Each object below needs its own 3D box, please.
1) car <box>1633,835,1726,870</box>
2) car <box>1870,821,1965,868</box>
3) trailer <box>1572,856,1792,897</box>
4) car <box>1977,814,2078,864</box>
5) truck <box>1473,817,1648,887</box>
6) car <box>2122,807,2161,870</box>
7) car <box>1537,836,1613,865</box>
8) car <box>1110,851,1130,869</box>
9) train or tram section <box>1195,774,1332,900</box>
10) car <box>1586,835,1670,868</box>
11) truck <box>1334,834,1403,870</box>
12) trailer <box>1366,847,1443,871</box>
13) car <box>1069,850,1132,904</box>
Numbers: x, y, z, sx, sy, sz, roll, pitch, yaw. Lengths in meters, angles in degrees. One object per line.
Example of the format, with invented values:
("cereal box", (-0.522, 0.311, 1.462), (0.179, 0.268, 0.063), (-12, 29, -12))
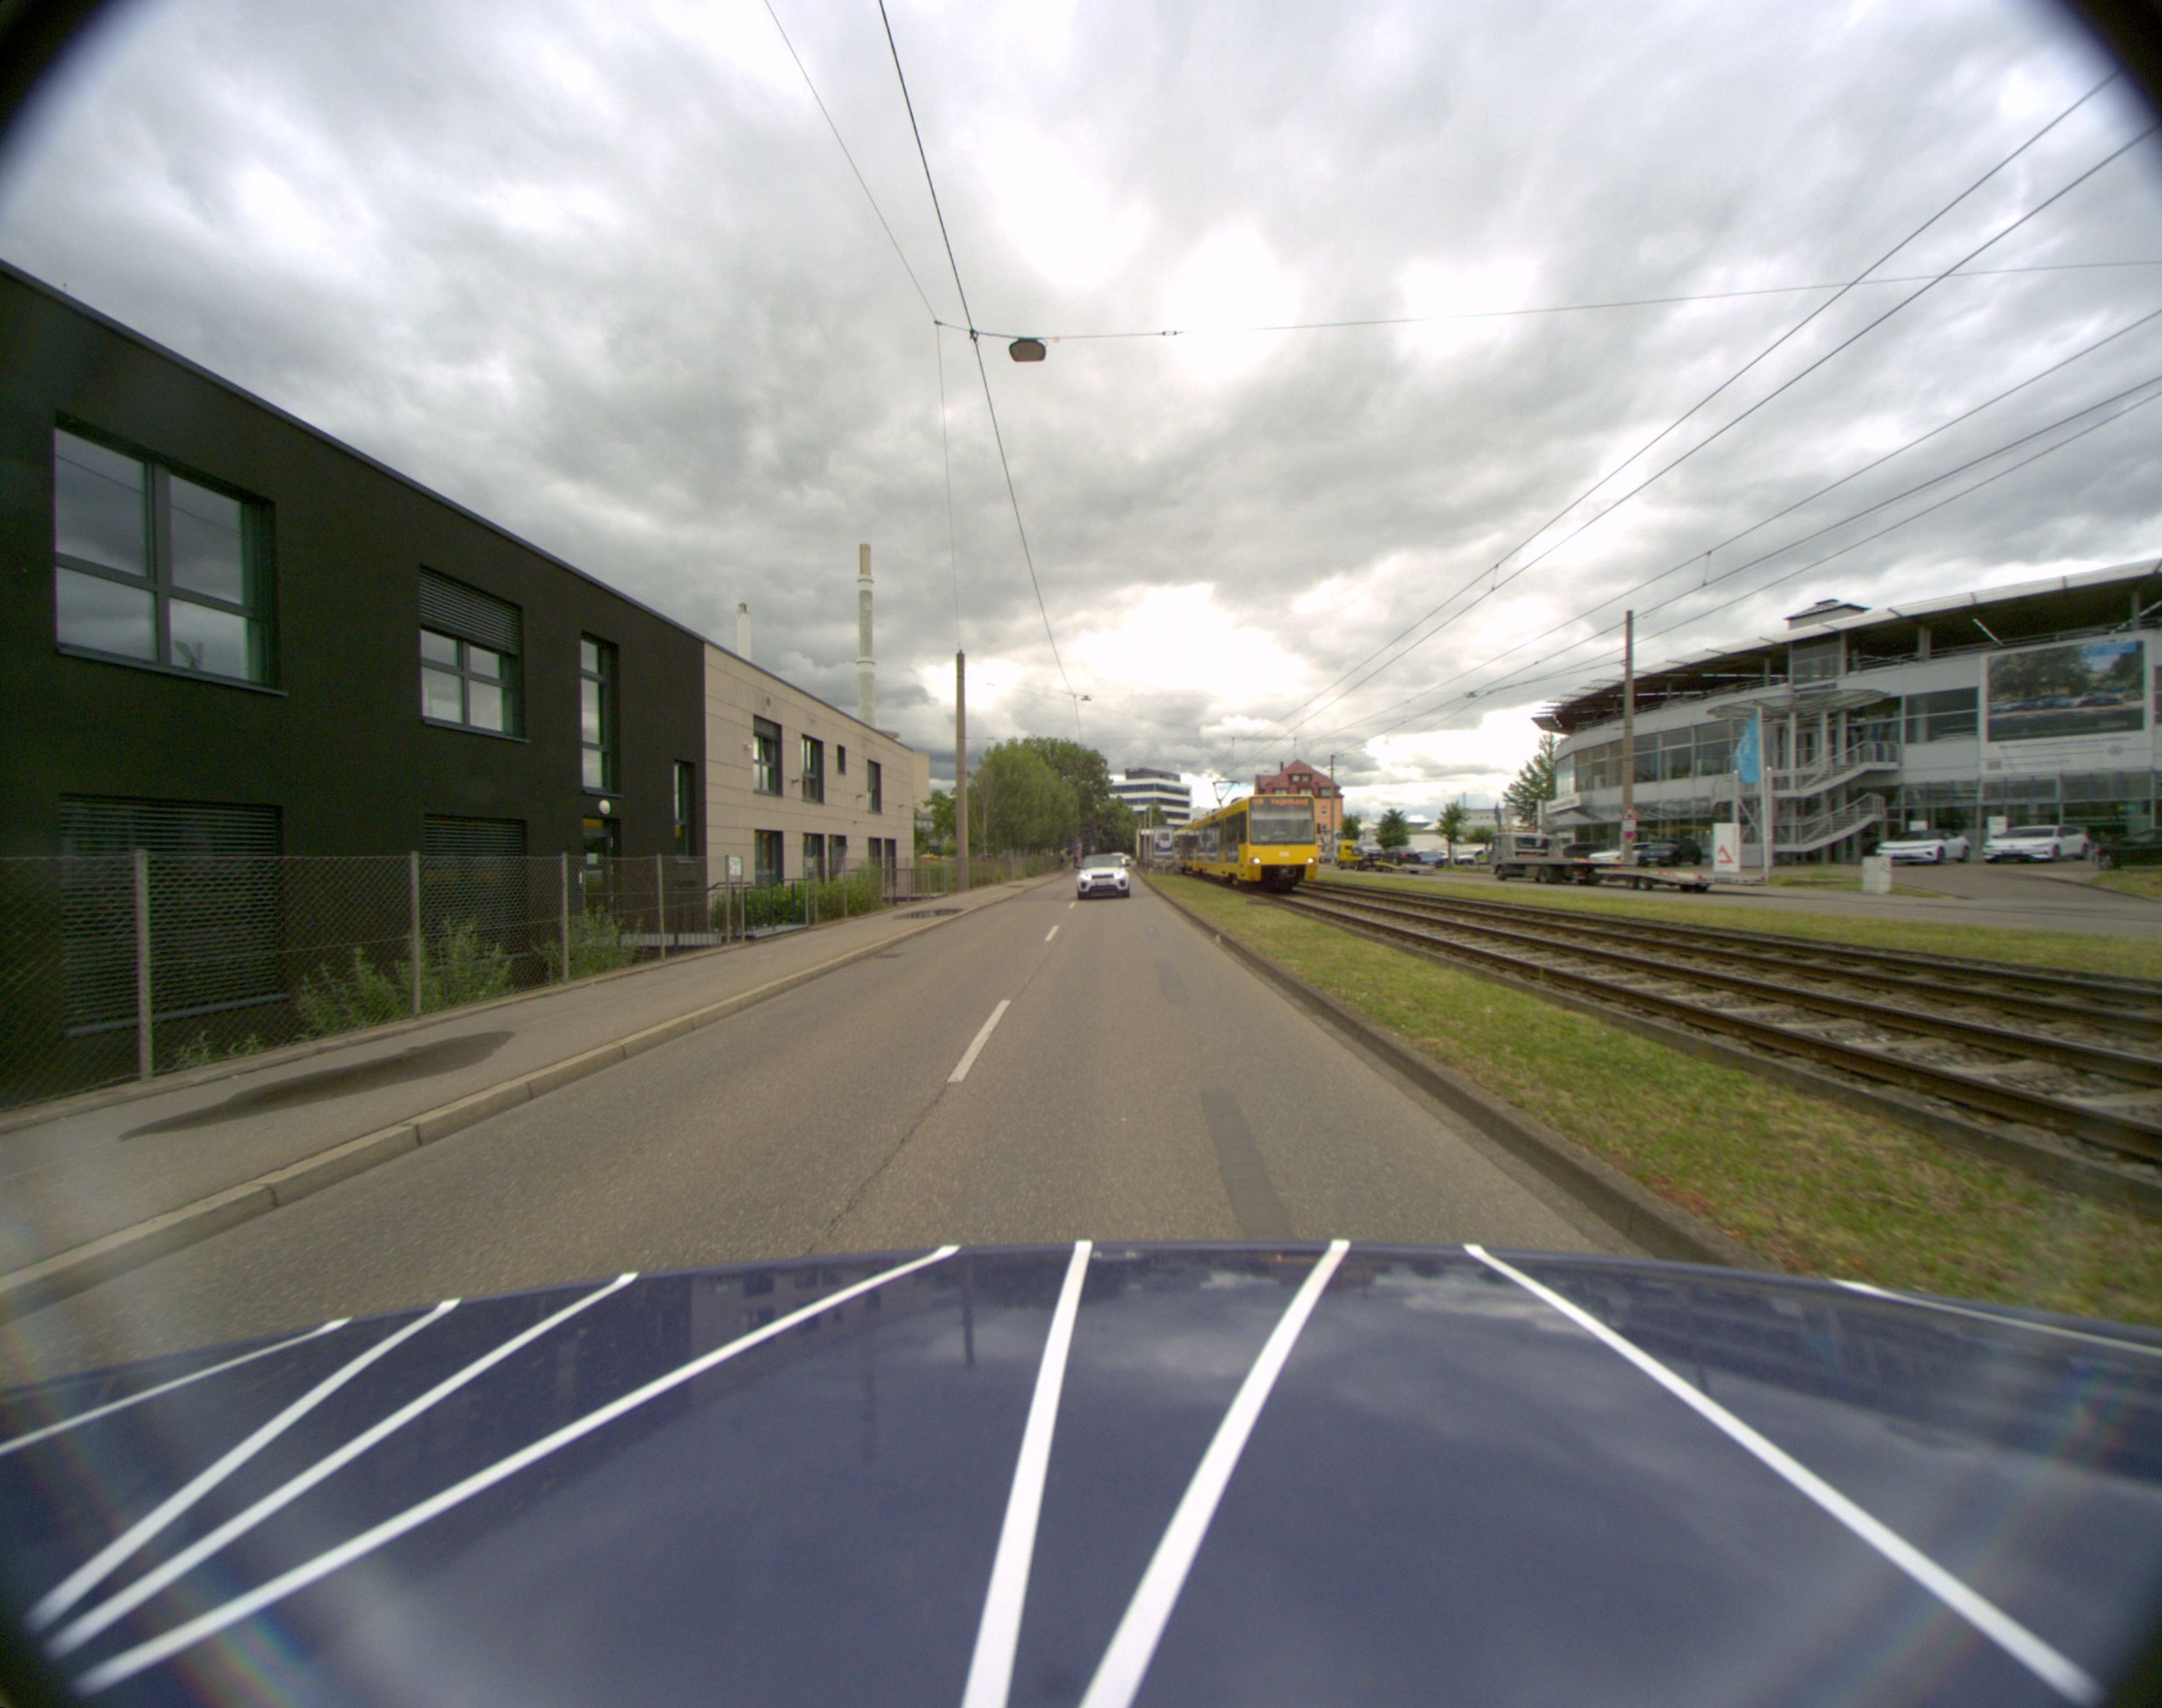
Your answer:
("car", (34.061, -0.092, 43.308), (4.000, 1.936, 1.998), (-1, 0, -10))
("car", (37.515, -0.438, 34.068), (4.006, 2.002, 1.995), (-1, 0, -29))
("trailer", (22.288, 0.766, 28.835), (3.056, 1.270, 7.008), (1, 0, 3))
("car", (39.750, -0.612, 31.902), (4.006, 2.002, 1.995), (-1, 0, -29))
("truck", (22.710, -0.105, 36.806), (3.114, 2.905, 8.963), (1, 0, 3))
("car", (35.645, -0.508, 23.907), (1.994, 2.002, 4.008), (0, 0, 31))
("car", (34.289, -0.233, 52.886), (3.992, 1.936, 2.002), (-1, 0, 15))
("car", (4.273, 0.625, 84.133), (1.998, 1.881, 4.627), (-1, 0, 1))
("train or tram section", (7.222, -0.654, 33.260), (3.395, 3.984, 16.949), (-2, 1, 6))
("car", (33.766, -0.152, 46.964), (4.000, 1.936, 1.998), (-1, 0, -10))
("truck", (24.470, -0.174, 65.261), (3.056, 2.843, 9.069), (-1, 0, 4))
("trailer", (24.031, 0.353, 56.943), (2.984, 1.678, 7.570), (-1, 0, 4))
("car", (0.776, 0.772, 27.312), (1.998, 1.718, 4.001), (-3, 0, 4))
